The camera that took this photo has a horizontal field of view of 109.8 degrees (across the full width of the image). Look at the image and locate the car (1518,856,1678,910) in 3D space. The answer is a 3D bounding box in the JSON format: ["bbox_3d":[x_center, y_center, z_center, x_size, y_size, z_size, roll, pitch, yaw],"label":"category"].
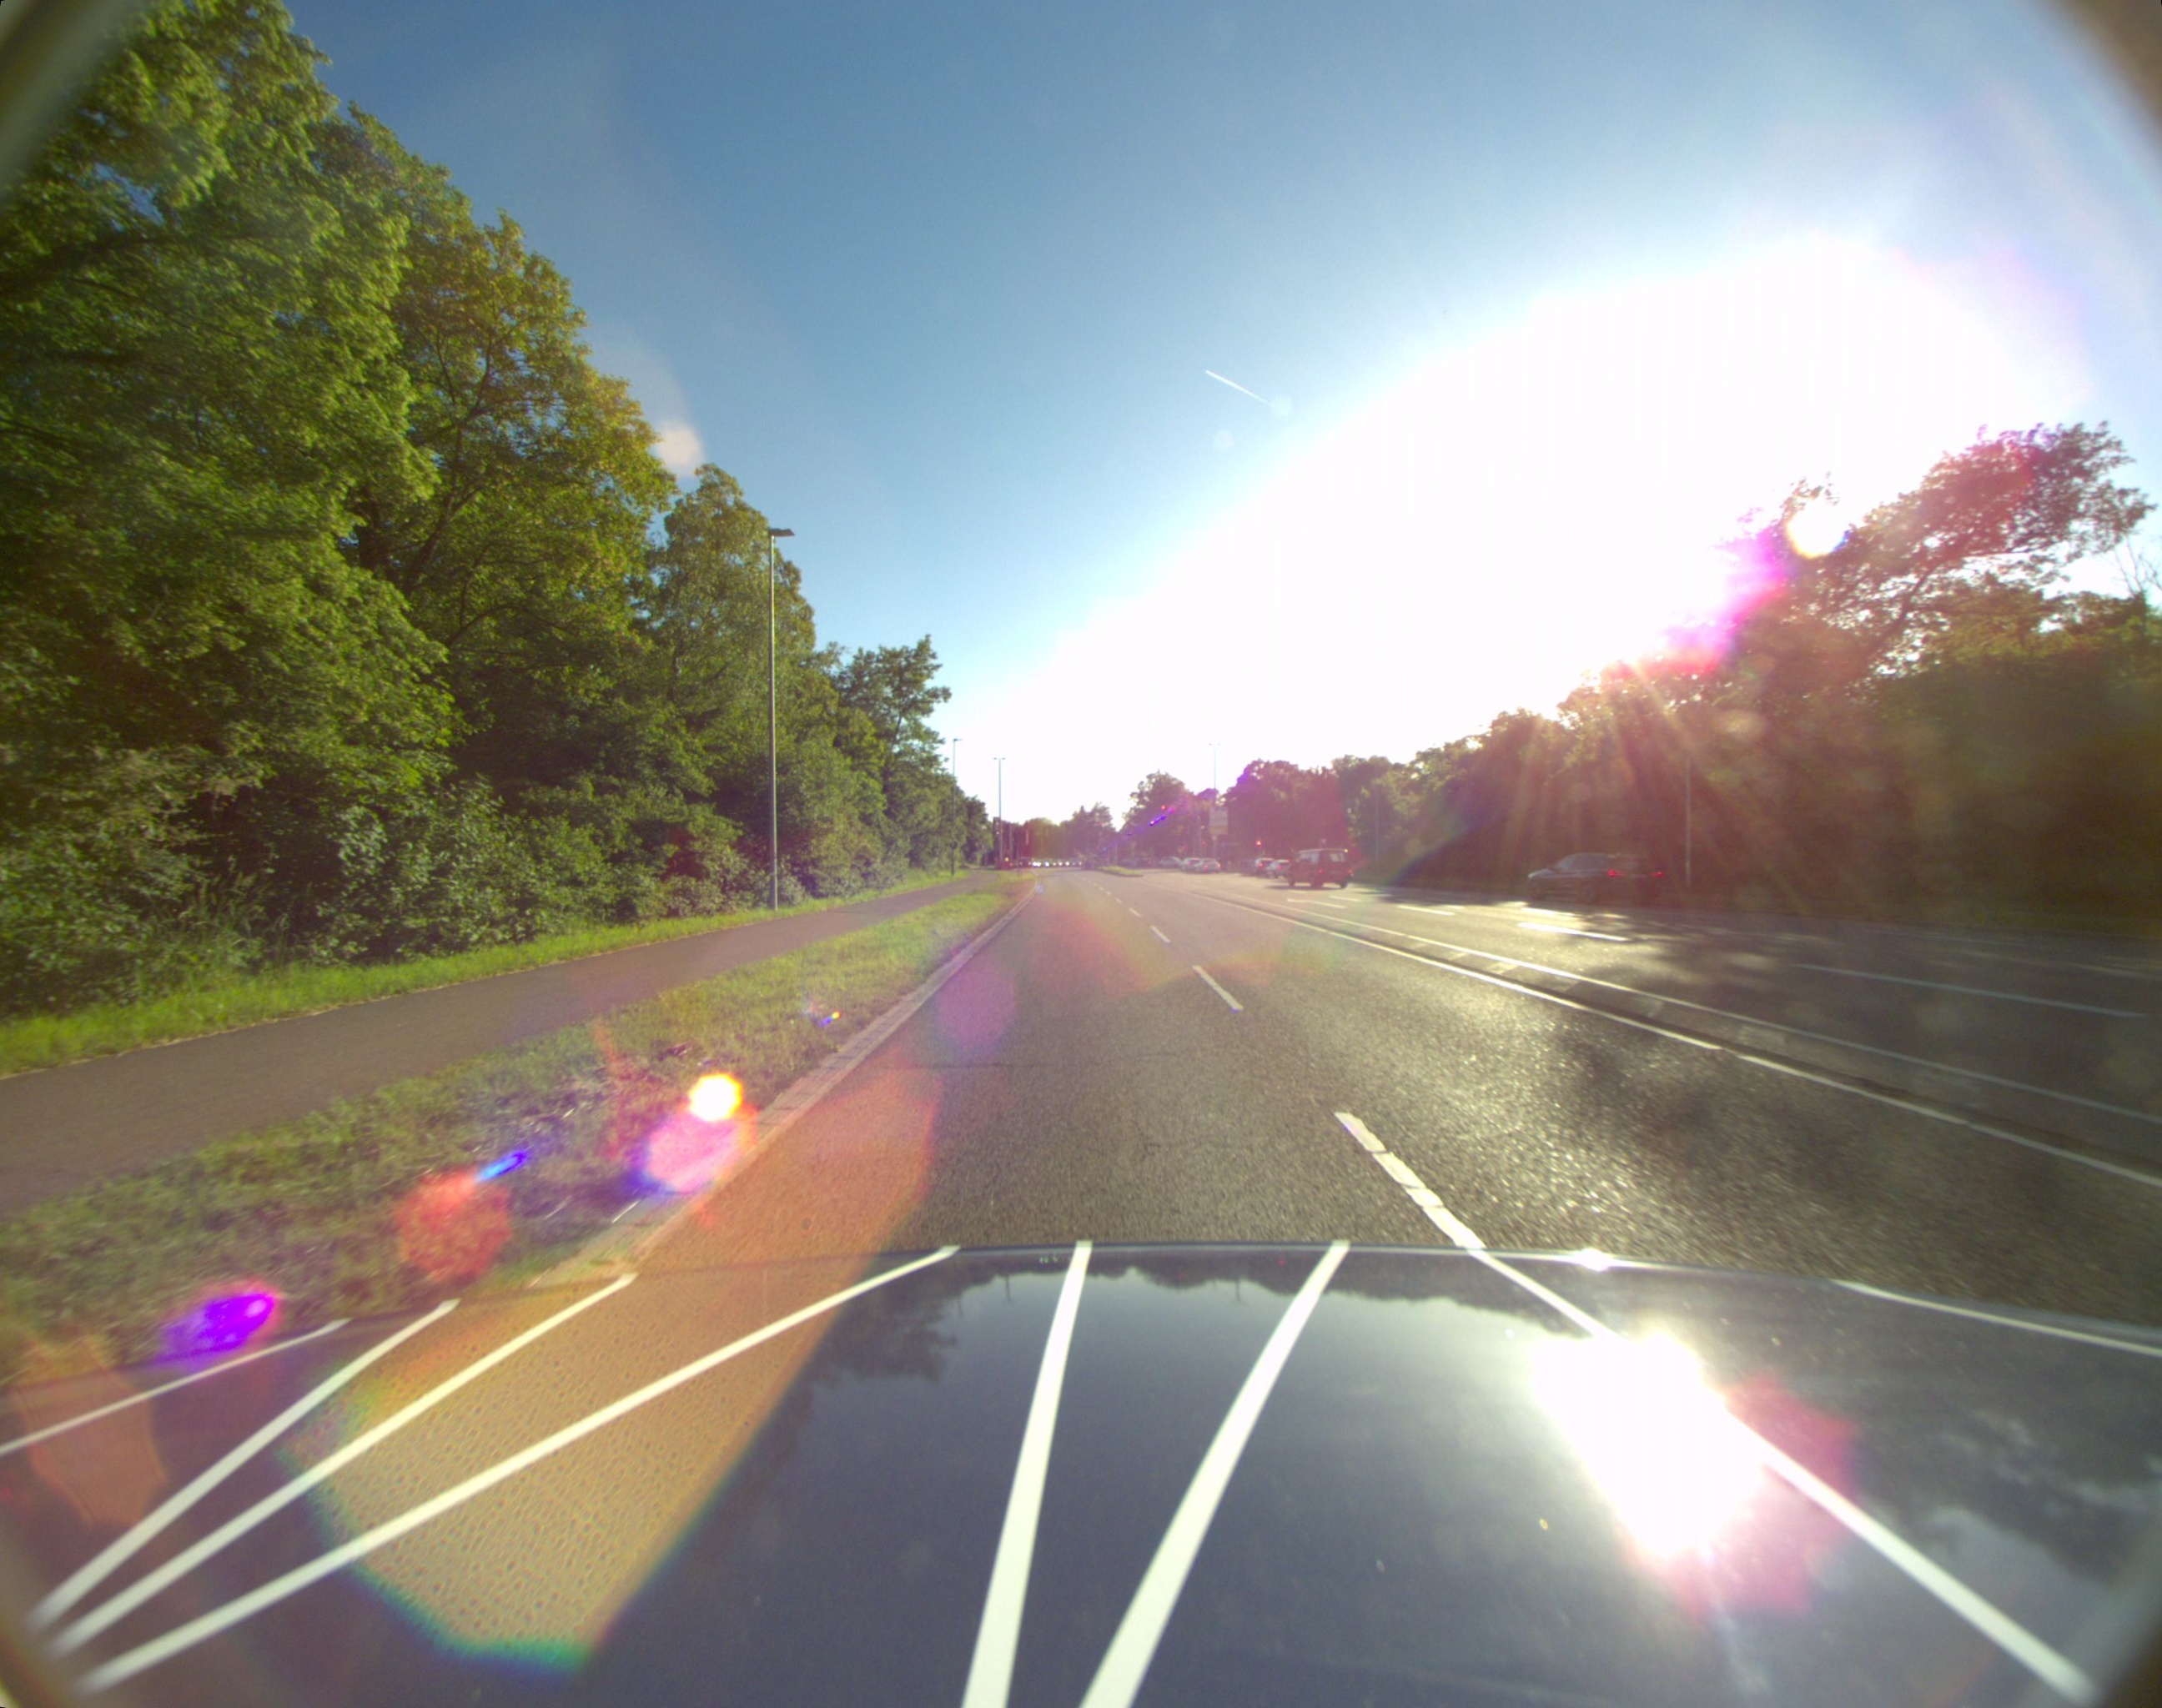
[{"bbox_3d":[17.035,0.895,25.416,1.999,1.627,4.843,0,0,-1],"label":"car"}]

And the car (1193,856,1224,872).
[{"bbox_3d":[12.541,0.983,74.972,1.999,1.442,4.646,1,0,-4],"label":"car"}]

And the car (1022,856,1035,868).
[{"bbox_3d":[-9.234,1.352,132.868,2.000,2.057,3.997,-1,1,-6],"label":"car"}]

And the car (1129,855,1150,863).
[{"bbox_3d":[12.572,1.063,164.274,4.003,1.510,1.997,-1,1,-18],"label":"car"}]

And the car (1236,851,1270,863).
[{"bbox_3d":[24.155,0.395,106.812,4.734,1.677,2.002,0,0,12],"label":"car"}]

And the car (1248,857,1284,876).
[{"bbox_3d":[16.655,1.089,68.753,1.999,1.555,4.647,2,0,-1],"label":"car"}]

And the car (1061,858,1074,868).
[{"bbox_3d":[-2.337,1.509,131.092,2.000,1.510,3.997,-1,1,-6],"label":"car"}]

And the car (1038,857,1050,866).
[{"bbox_3d":[-6.547,1.350,134.271,2.000,1.510,3.997,-1,1,-6],"label":"car"}]

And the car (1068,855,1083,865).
[{"bbox_3d":[-0.840,0.901,119.721,2.000,1.510,3.997,-1,1,-6],"label":"car"}]

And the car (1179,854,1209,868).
[{"bbox_3d":[12.202,0.723,82.340,2.000,1.442,4.839,1,0,-6],"label":"car"}]

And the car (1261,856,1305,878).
[{"bbox_3d":[16.352,1.016,61.783,1.999,1.555,4.646,3,0,-3],"label":"car"}]

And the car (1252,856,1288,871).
[{"bbox_3d":[19.797,0.954,79.477,1.994,1.442,4.658,0,0,36],"label":"car"}]

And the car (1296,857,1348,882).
[{"bbox_3d":[16.502,1.001,52.310,1.999,1.555,4.647,2,0,-1],"label":"car"}]

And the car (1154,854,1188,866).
[{"bbox_3d":[12.066,0.794,101.885,3.988,1.510,2.004,0,0,40],"label":"car"}]

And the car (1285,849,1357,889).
[{"bbox_3d":[12.352,0.717,39.451,1.999,1.950,4.646,1,0,-4],"label":"car"}]
